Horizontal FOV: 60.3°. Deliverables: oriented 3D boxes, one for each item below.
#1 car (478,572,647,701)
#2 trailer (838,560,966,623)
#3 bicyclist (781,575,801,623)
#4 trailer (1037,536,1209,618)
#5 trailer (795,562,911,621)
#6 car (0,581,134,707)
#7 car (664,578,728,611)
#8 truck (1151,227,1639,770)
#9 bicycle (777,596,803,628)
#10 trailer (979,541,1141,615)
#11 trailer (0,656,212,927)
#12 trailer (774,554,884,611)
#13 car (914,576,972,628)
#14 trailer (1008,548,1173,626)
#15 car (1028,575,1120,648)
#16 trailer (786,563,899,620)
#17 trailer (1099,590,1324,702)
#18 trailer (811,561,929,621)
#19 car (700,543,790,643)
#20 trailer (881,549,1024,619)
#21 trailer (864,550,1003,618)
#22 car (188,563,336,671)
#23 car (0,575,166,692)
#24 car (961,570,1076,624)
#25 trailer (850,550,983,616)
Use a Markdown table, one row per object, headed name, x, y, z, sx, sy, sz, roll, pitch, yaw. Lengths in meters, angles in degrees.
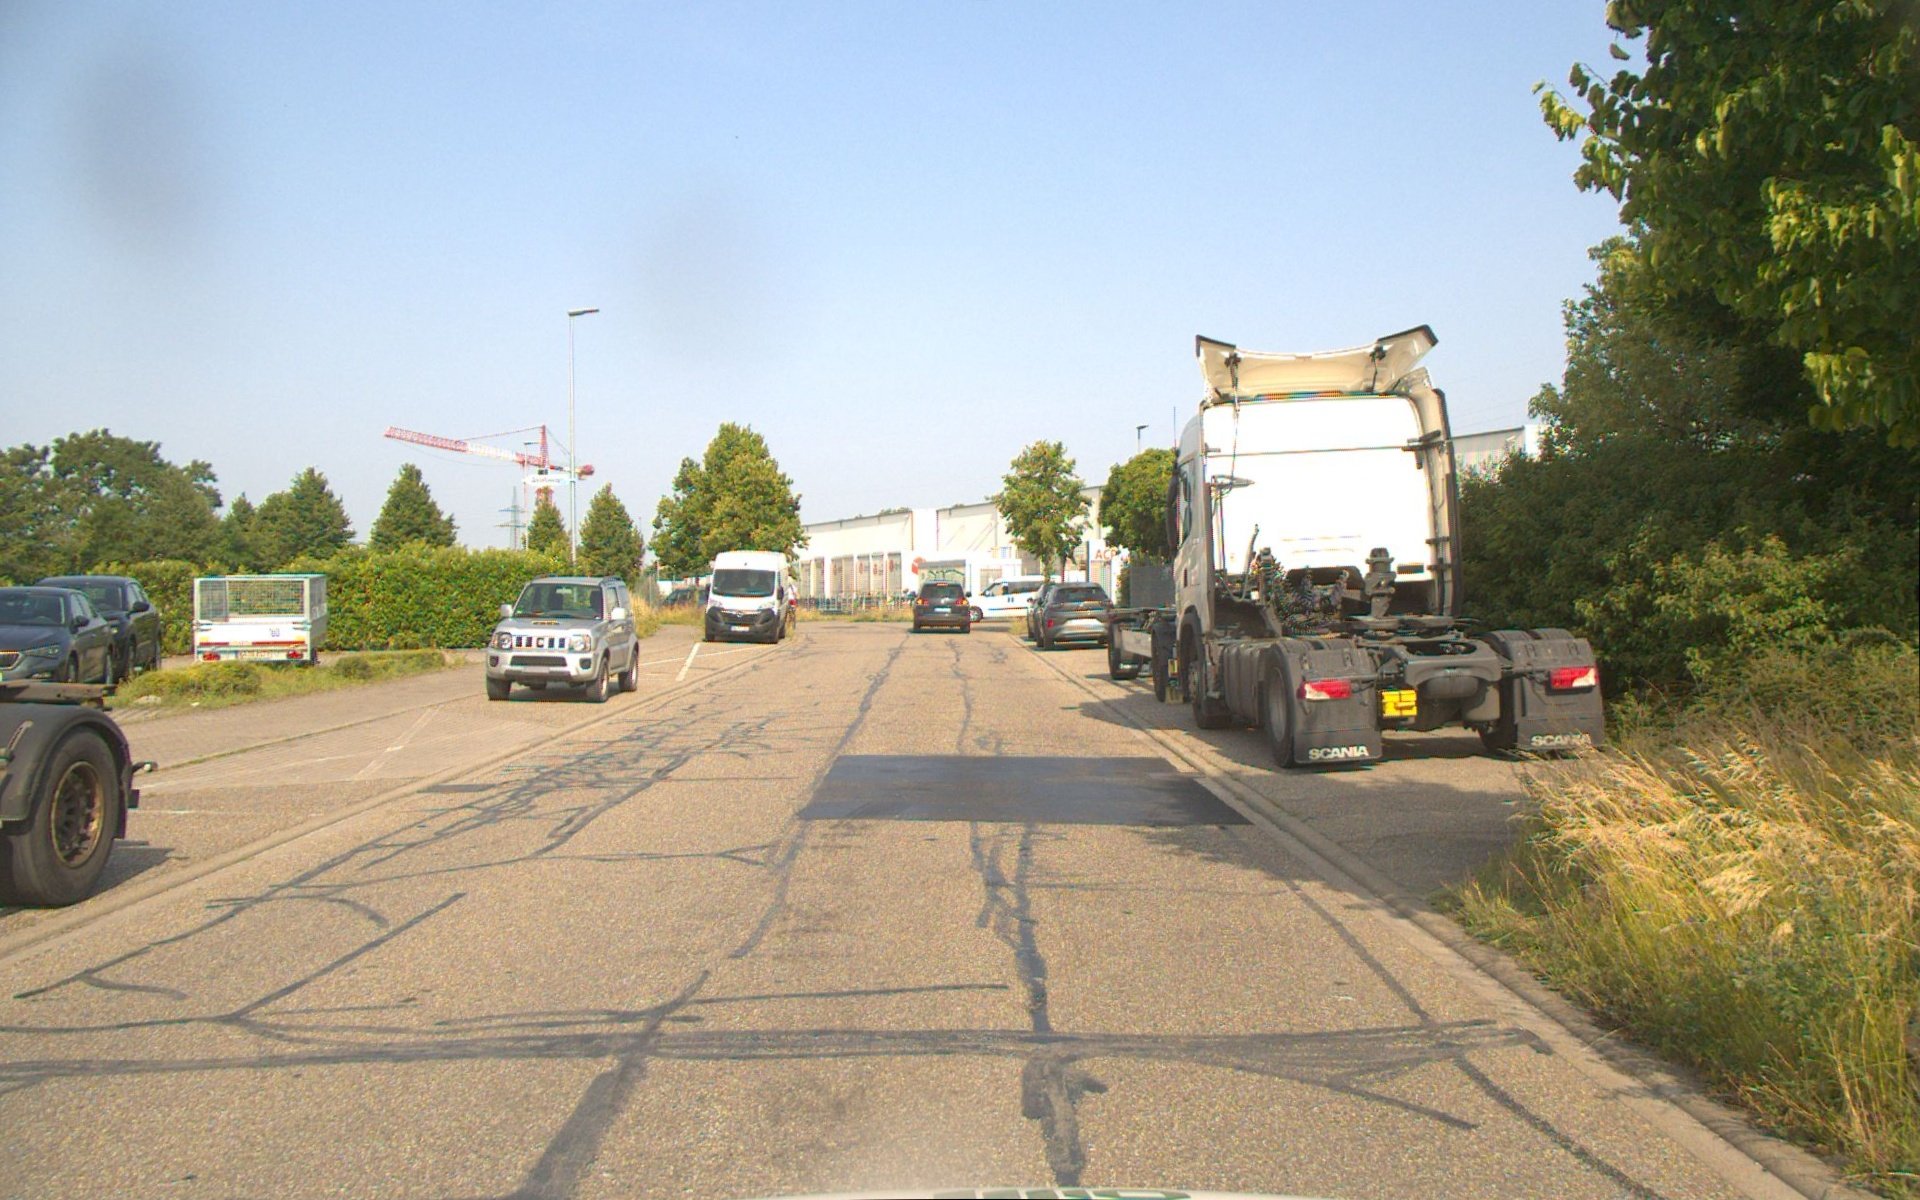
| name | x | y | z | sx | sy | sz | roll | pitch | yaw |
| --- | --- | --- | --- | --- | --- | --- | --- | --- | --- |
| car | -5.566 | 0.460 | 23.545 | 1.564 | 1.680 | 3.644 | 0 | 0 | -1 |
| trailer | -3.891 | -0.556 | 111.490 | 8.200 | 3.962 | 2.754 | 2 | 0 | -25 |
| bicyclist | -6.262 | -0.035 | 61.185 | 0.626 | 1.749 | 1.165 | 0 | 0 | -1 |
| trailer | 8.289 | -1.117 | 84.112 | 8.418 | 3.962 | 2.756 | 0 | -3 | -23 |
| trailer | -7.790 | -0.609 | 120.577 | 7.860 | 3.962 | 2.754 | 2 | 0 | -25 |
| car | -12.261 | 0.508 | 21.638 | 1.945 | 1.502 | 4.399 | 0 | 0 | -18 |
| car | -13.113 | -0.245 | 82.011 | 1.946 | 1.601 | 4.076 | 0 | -1 | -28 |
| truck | 3.686 | -0.800 | 15.664 | 2.638 | 4.033 | 6.045 | -3 | 0 | -3 |
| bicycle | -6.265 | 0.431 | 61.069 | 0.701 | 1.142 | 2.219 | -3 | 0 | -1 |
| trailer | 5.479 | -1.148 | 90.367 | 8.618 | 3.827 | 2.769 | 1 | -1 | -25 |
| trailer | -5.472 | 0.911 | 4.574 | 2.494 | 1.093 | 9.730 | 1 | 1 | -1 |
| trailer | -10.008 | -1.306 | 126.278 | 7.860 | 3.962 | 2.754 | 2 | 0 | -25 |
| car | -0.574 | 0.082 | 55.222 | 1.842 | 1.614 | 4.112 | 2 | 0 | -1 |
| trailer | 6.927 | -0.734 | 87.474 | 8.421 | 3.962 | 2.756 | -1 | 0 | -23 |
| car | 2.673 | 0.271 | 39.575 | 1.842 | 1.601 | 4.112 | -2 | 0 | -1 |
| trailer | -8.785 | -0.595 | 123.598 | 7.860 | 3.962 | 2.754 | 2 | 0 | -25 |
| trailer | 3.299 | 0.522 | 23.322 | 1.899 | 1.257 | 7.450 | -2 | 0 | -1 |
| trailer | -6.426 | -0.631 | 117.888 | 7.860 | 3.962 | 2.754 | 2 | 0 | -25 |
| car | -6.175 | -0.202 | 48.200 | 2.060 | 2.640 | 6.499 | 2 | 0 | -4 |
| trailer | -0.454 | -0.975 | 102.951 | 8.426 | 3.962 | 2.754 | 2 | 0 | -25 |
| trailer | -1.654 | -0.982 | 105.886 | 8.426 | 3.962 | 2.754 | 2 | 0 | -25 |
| car | -11.256 | 0.263 | 26.892 | 1.804 | 1.599 | 3.798 | 2 | 0 | -17 |
| car | -13.958 | 0.478 | 26.128 | 1.959 | 1.687 | 4.399 | 0 | 0 | -18 |
| car | 2.369 | -0.113 | 67.827 | 4.517 | 2.147 | 2.127 | 0 | -1 | -3 |
| trailer | -2.834 | -1.082 | 108.625 | 8.200 | 3.962 | 2.754 | 2 | 0 | -25 |
